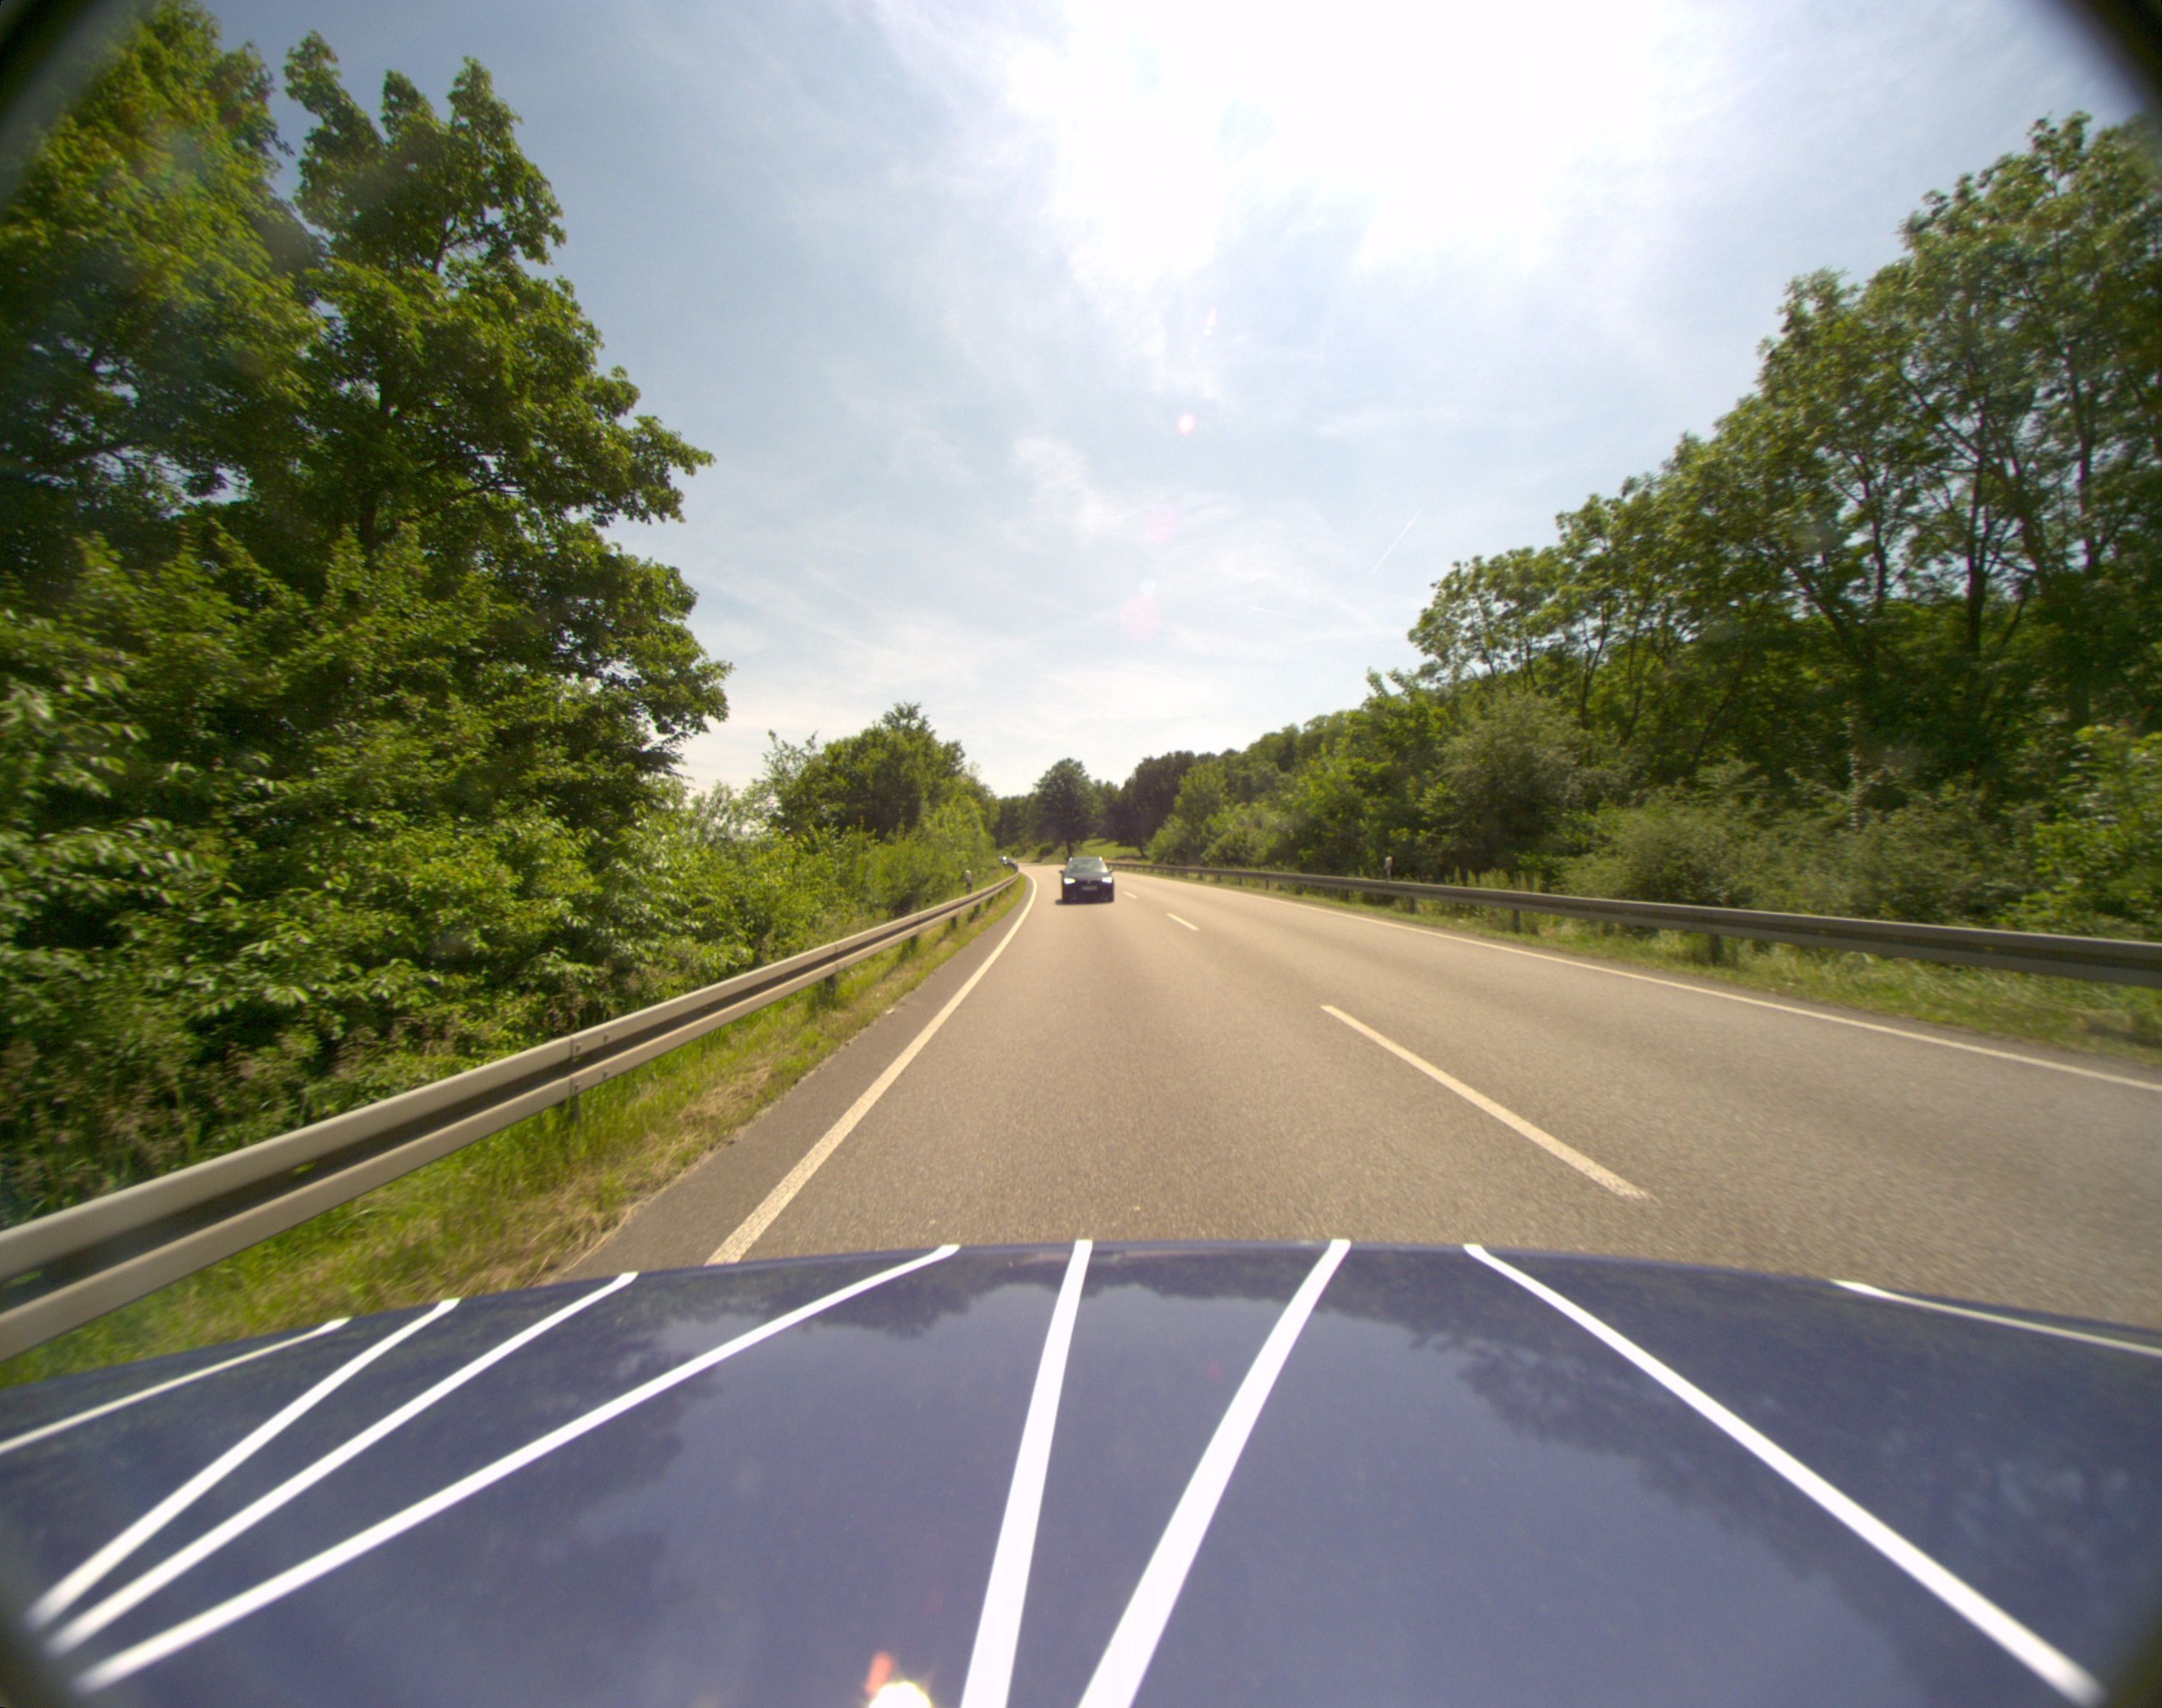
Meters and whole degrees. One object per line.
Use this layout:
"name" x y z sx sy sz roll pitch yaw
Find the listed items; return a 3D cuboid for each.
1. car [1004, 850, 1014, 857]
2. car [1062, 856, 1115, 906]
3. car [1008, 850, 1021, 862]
"car" -16.949 -0.159 179.079 1.870 1.518 3.887 -2 1 -11
"car" 0.208 0.879 26.532 1.662 1.531 3.486 -3 0 -1
"car" -11.498 0.364 131.724 2.000 2.002 3.997 -3 1 -7
